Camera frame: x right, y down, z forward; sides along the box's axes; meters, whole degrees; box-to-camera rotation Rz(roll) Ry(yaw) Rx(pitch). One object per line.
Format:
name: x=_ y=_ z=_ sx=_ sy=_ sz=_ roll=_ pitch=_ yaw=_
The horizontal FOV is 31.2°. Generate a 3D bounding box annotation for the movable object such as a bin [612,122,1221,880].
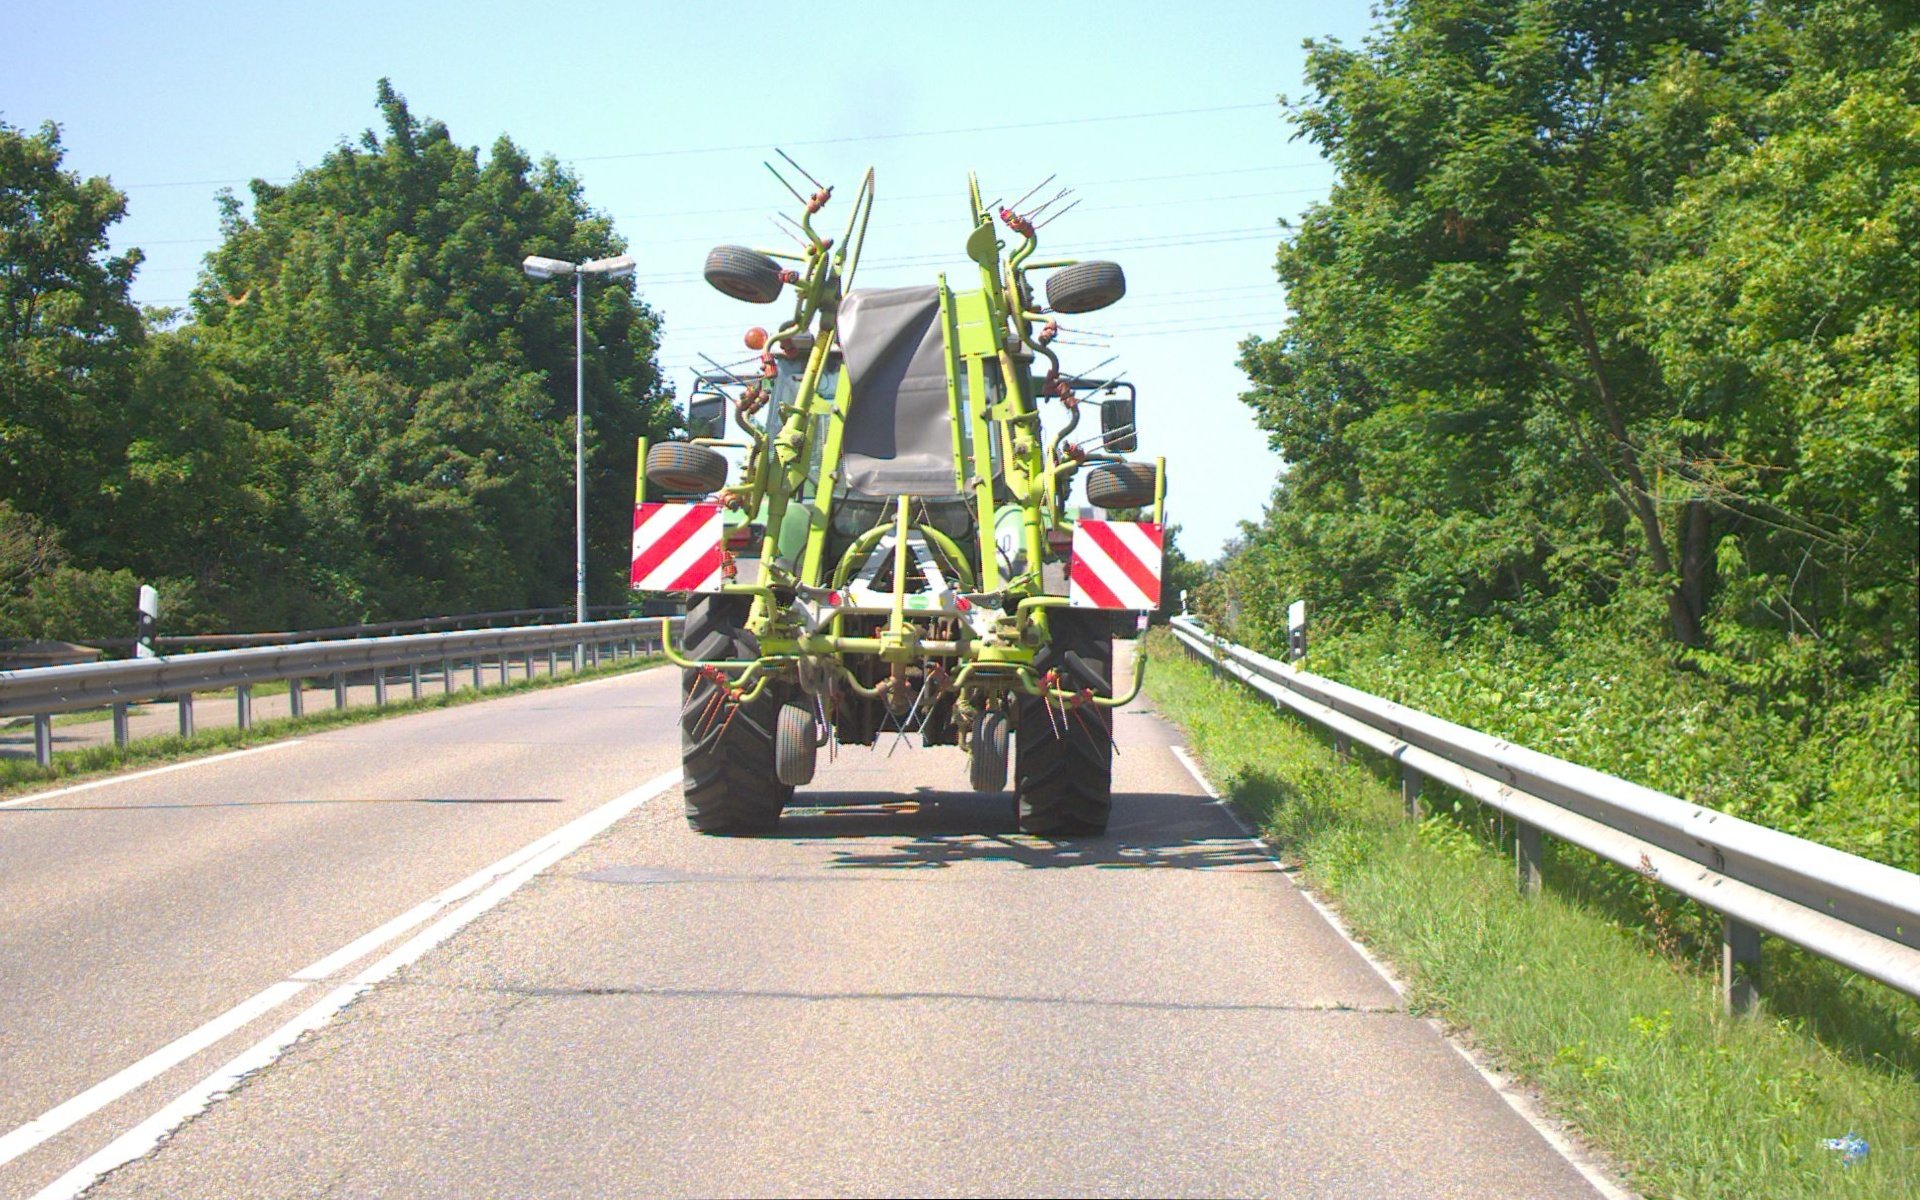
movable object such as a bin: x=-0.296 y=-0.499 z=18.522 sx=2.755 sy=3.432 sz=5.670 roll=0 pitch=1 yaw=-2
